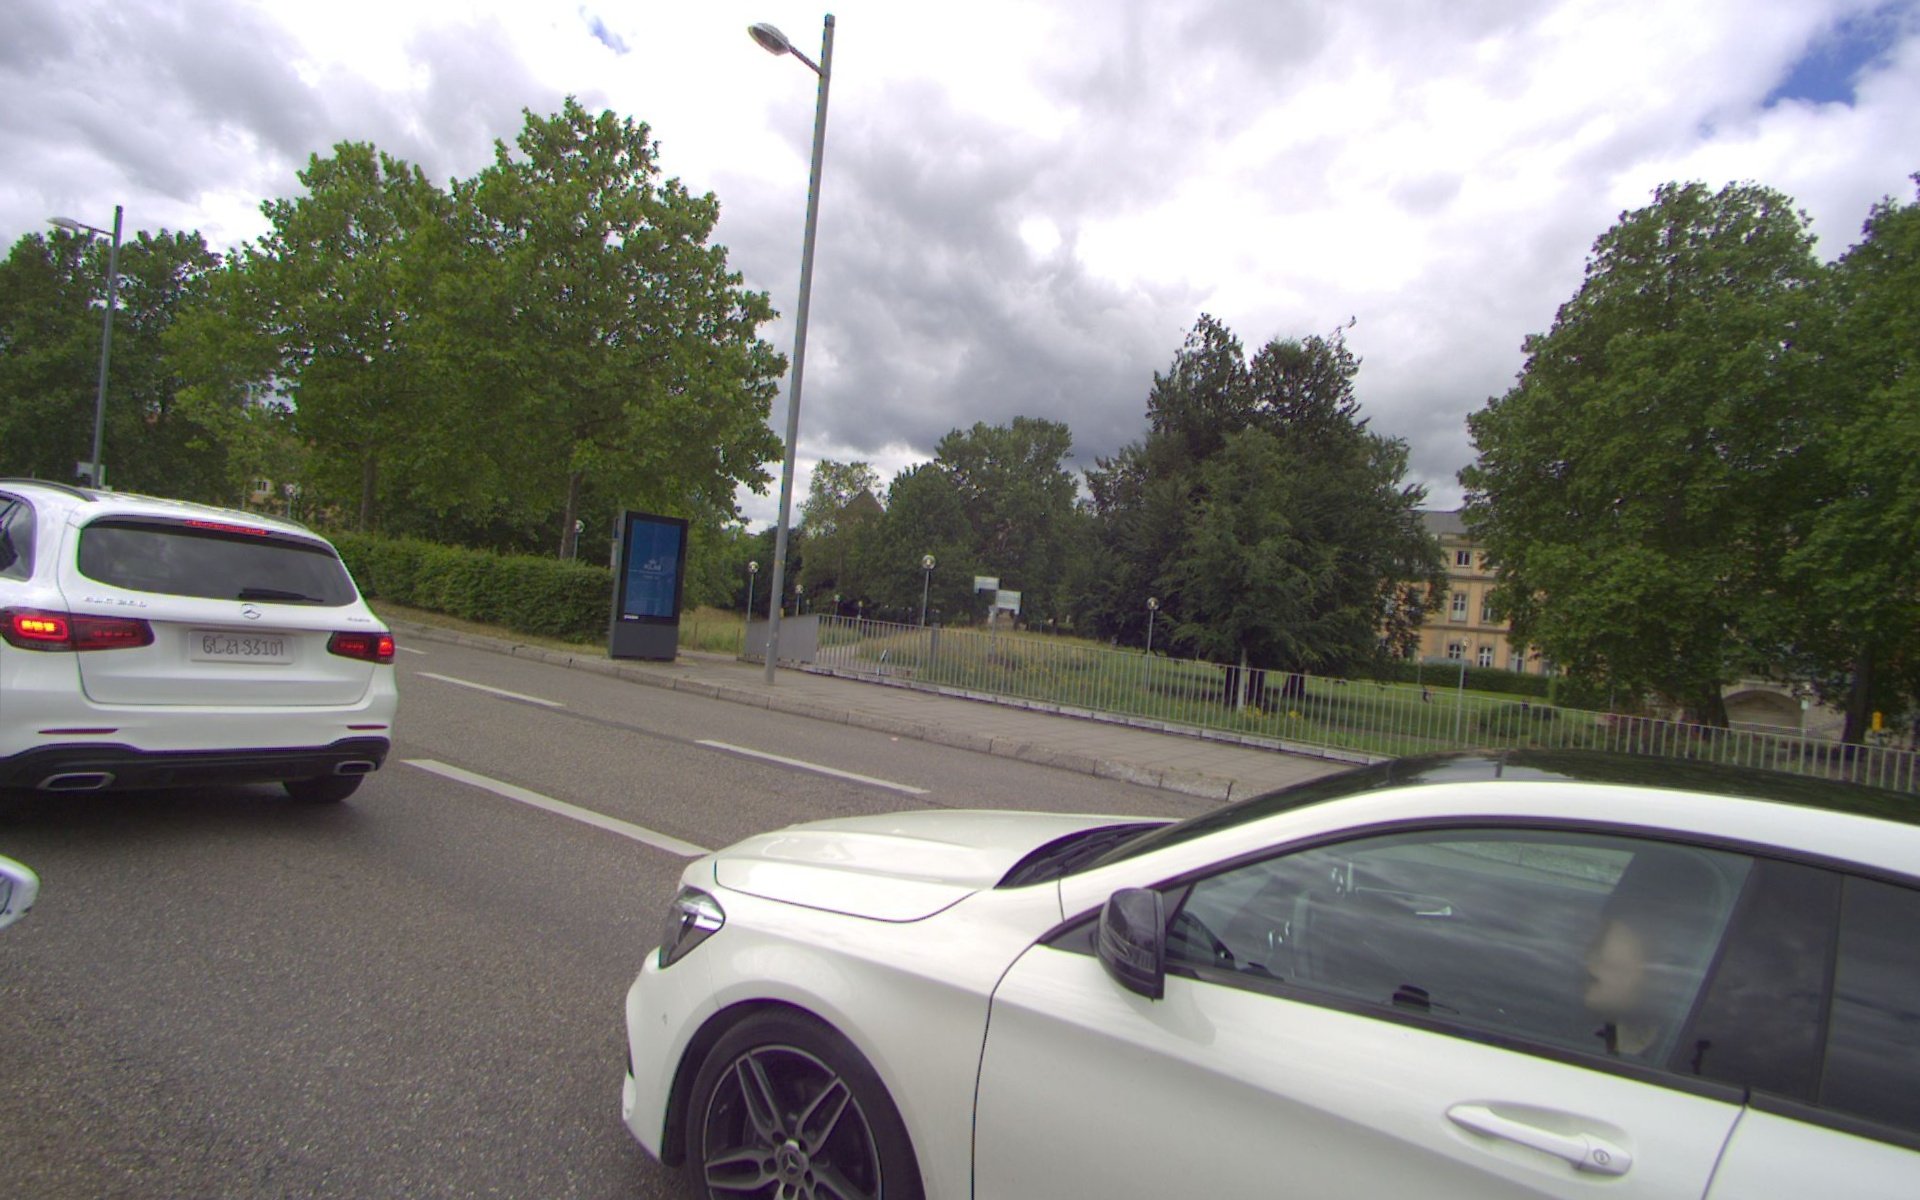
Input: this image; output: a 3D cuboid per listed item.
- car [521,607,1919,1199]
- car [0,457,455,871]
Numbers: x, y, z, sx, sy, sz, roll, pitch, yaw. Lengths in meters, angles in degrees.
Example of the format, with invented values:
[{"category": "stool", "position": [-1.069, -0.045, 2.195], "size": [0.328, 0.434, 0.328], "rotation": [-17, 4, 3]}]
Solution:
[{"category": "car", "position": [1.266, 1.009, 2.143], "size": [4.432, 1.440, 1.722], "rotation": [6, -2, 32]}, {"category": "car", "position": [-5.153, 0.135, 5.934], "size": [4.307, 1.667, 1.821], "rotation": [7, -1, 33]}]
